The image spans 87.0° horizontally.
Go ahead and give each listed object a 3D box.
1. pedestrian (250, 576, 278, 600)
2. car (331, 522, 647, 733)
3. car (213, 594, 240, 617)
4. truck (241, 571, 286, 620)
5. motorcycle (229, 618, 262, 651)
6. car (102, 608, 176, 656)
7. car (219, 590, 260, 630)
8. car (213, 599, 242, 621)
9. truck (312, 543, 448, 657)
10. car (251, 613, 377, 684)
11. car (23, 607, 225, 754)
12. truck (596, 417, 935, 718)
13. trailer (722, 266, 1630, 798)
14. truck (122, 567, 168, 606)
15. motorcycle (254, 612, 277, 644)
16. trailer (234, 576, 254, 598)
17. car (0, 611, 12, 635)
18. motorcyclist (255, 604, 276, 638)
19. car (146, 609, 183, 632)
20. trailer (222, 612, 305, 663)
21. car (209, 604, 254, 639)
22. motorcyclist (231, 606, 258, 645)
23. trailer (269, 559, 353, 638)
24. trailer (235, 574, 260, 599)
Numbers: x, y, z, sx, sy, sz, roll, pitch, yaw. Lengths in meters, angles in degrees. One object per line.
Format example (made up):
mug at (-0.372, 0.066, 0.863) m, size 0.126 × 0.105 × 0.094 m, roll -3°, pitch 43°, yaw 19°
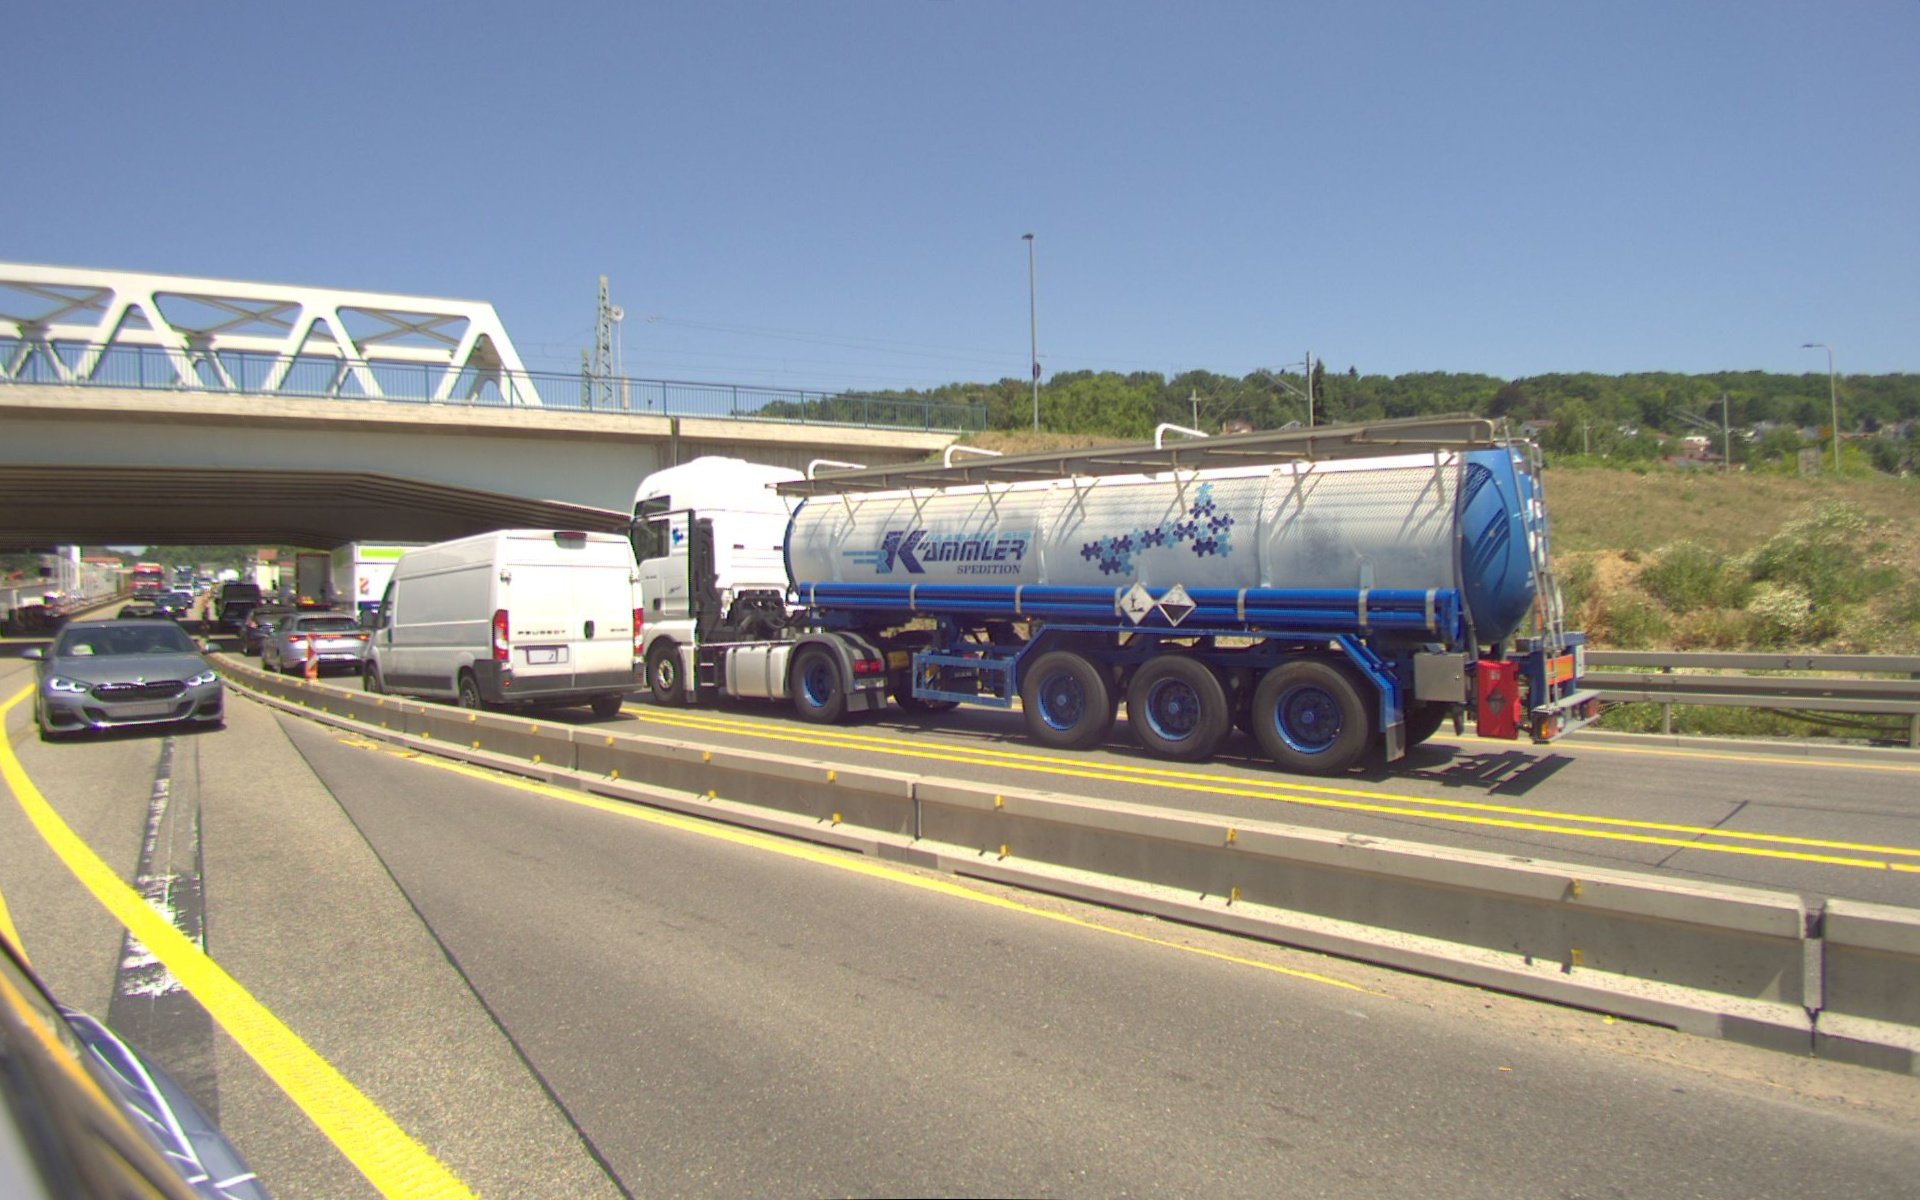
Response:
pedestrian at (-62.414, -1.076, 90.766) m, size 1.967 × 2.028 × 4.010 m, roll 0°, pitch 2°, yaw -36°
car at (-7.247, 0.327, 15.070) m, size 6.485 × 2.522 × 2.048 m, roll 0°, pitch 0°, yaw 44°
car at (-66.633, 0.482, 91.964) m, size 1.777 × 1.947 × 4.978 m, roll 0°, pitch 1°, yaw -38°
truck at (-66.833, -0.595, 96.973) m, size 2.733 × 4.345 × 13.519 m, roll 0°, pitch 2°, yaw -38°
motorcycle at (-27.156, 1.292, 38.420) m, size 0.822 × 1.158 × 2.796 m, roll 0°, pitch 1°, yaw -39°
car at (-29.276, 1.084, 36.191) m, size 1.809 × 1.484 × 4.400 m, roll 0°, pitch 1°, yaw -36°
car at (-44.384, 0.561, 62.288) m, size 1.954 × 2.347 × 6.072 m, roll 0°, pitch 1°, yaw -36°
car at (-55.846, 0.750, 77.174) m, size 1.725 × 1.622 × 4.151 m, roll 0°, pitch 1°, yaw -36°
truck at (-20.807, 0.009, 36.026) m, size 2.782 × 3.602 × 8.513 m, roll -1°, pitch 0°, yaw -39°
car at (-15.251, 1.064, 23.777) m, size 1.822 × 1.475 × 4.530 m, roll -1°, pitch 0°, yaw -41°
car at (-11.177, 0.910, 13.413) m, size 1.812 × 1.609 × 4.394 m, roll 0°, pitch 0°, yaw -43°
truck at (-3.084, -0.413, 15.523) m, size 4.947 × 3.850 × 2.508 m, roll -1°, pitch 1°, yaw 40°
trailer at (1.387, -0.459, 11.613) m, size 10.240 × 3.817 × 2.499 m, roll -1°, pitch 1°, yaw 41°
truck at (-89.446, -1.549, 111.237) m, size 3.409 × 4.077 × 10.235 m, roll 0°, pitch 2°, yaw -36°
motorcycle at (-30.563, 1.219, 44.524) m, size 0.693 × 1.289 × 2.741 m, roll 0°, pitch 1°, yaw -37°
trailer at (-132.846, -2.385, 187.735) m, size 2.564 × 3.899 × 11.306 m, roll 0°, pitch 2°, yaw -33°
car at (-107.108, 2.676, 109.526) m, size 2.053 × 2.600 × 6.225 m, roll -1°, pitch 3°, yaw 40°
motorcyclist at (-30.571, 0.926, 44.570) m, size 0.709 × 1.427 × 0.744 m, roll 0°, pitch 2°, yaw -39°
car at (-56.245, 1.449, 71.562) m, size 1.774 × 1.564 × 4.005 m, roll -1°, pitch 0°, yaw -42°
trailer at (-21.986, 1.133, 31.888) m, size 1.644 × 1.442 × 4.005 m, roll -1°, pitch 1°, yaw -42°
car at (-36.607, 1.043, 50.840) m, size 1.724 × 1.683 × 4.087 m, roll 0°, pitch 0°, yaw -37°
motorcyclist at (-27.239, 0.951, 38.513) m, size 0.800 × 1.427 × 0.744 m, roll 0°, pitch 2°, yaw -39°
trailer at (-38.076, -0.117, 59.074) m, size 2.840 × 4.070 × 14.388 m, roll -2°, pitch 1°, yaw -37°
trailer at (-115.137, -2.178, 163.622) m, size 2.619 × 3.844 × 11.856 m, roll 0°, pitch 2°, yaw -32°
